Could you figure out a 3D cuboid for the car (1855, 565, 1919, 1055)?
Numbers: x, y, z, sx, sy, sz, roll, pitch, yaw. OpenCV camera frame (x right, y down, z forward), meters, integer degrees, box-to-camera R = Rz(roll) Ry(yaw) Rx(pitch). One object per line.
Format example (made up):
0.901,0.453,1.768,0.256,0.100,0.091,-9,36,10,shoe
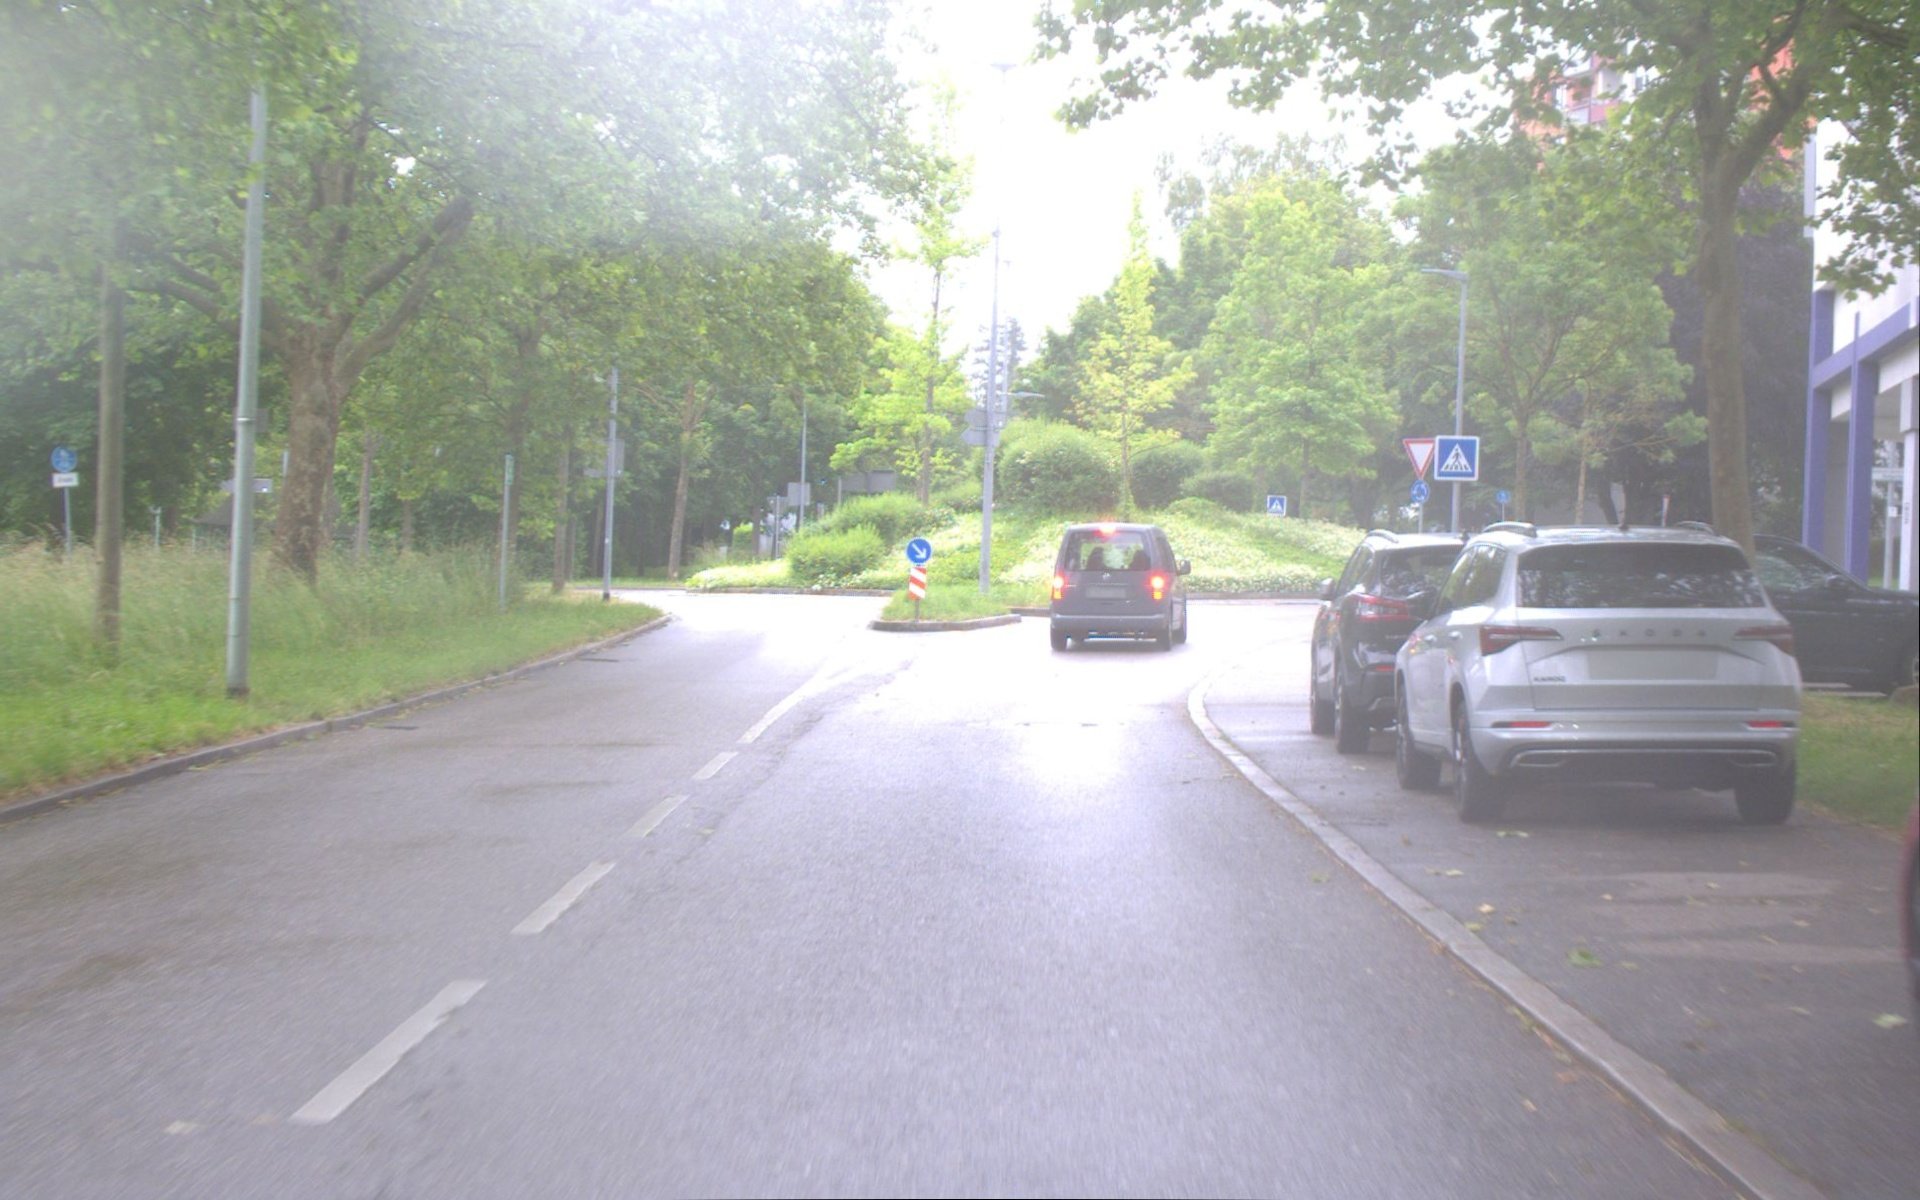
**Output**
3.574,0.609,8.457,1.797,1.367,3.744,0,1,1,car

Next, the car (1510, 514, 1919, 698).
7.910,0.046,34.591,4.471,1.674,1.767,2,2,3,car

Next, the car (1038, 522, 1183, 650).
2.258,-0.239,50.690,1.919,1.795,3.789,-1,1,6,car

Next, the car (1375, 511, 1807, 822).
3.482,0.312,19.695,1.728,1.586,4.253,0,1,1,car

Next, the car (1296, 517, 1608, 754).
3.573,0.214,25.673,1.801,1.596,4.371,1,1,2,car

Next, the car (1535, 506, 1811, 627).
12.111,-0.586,58.658,4.378,1.753,1.829,3,3,7,car
